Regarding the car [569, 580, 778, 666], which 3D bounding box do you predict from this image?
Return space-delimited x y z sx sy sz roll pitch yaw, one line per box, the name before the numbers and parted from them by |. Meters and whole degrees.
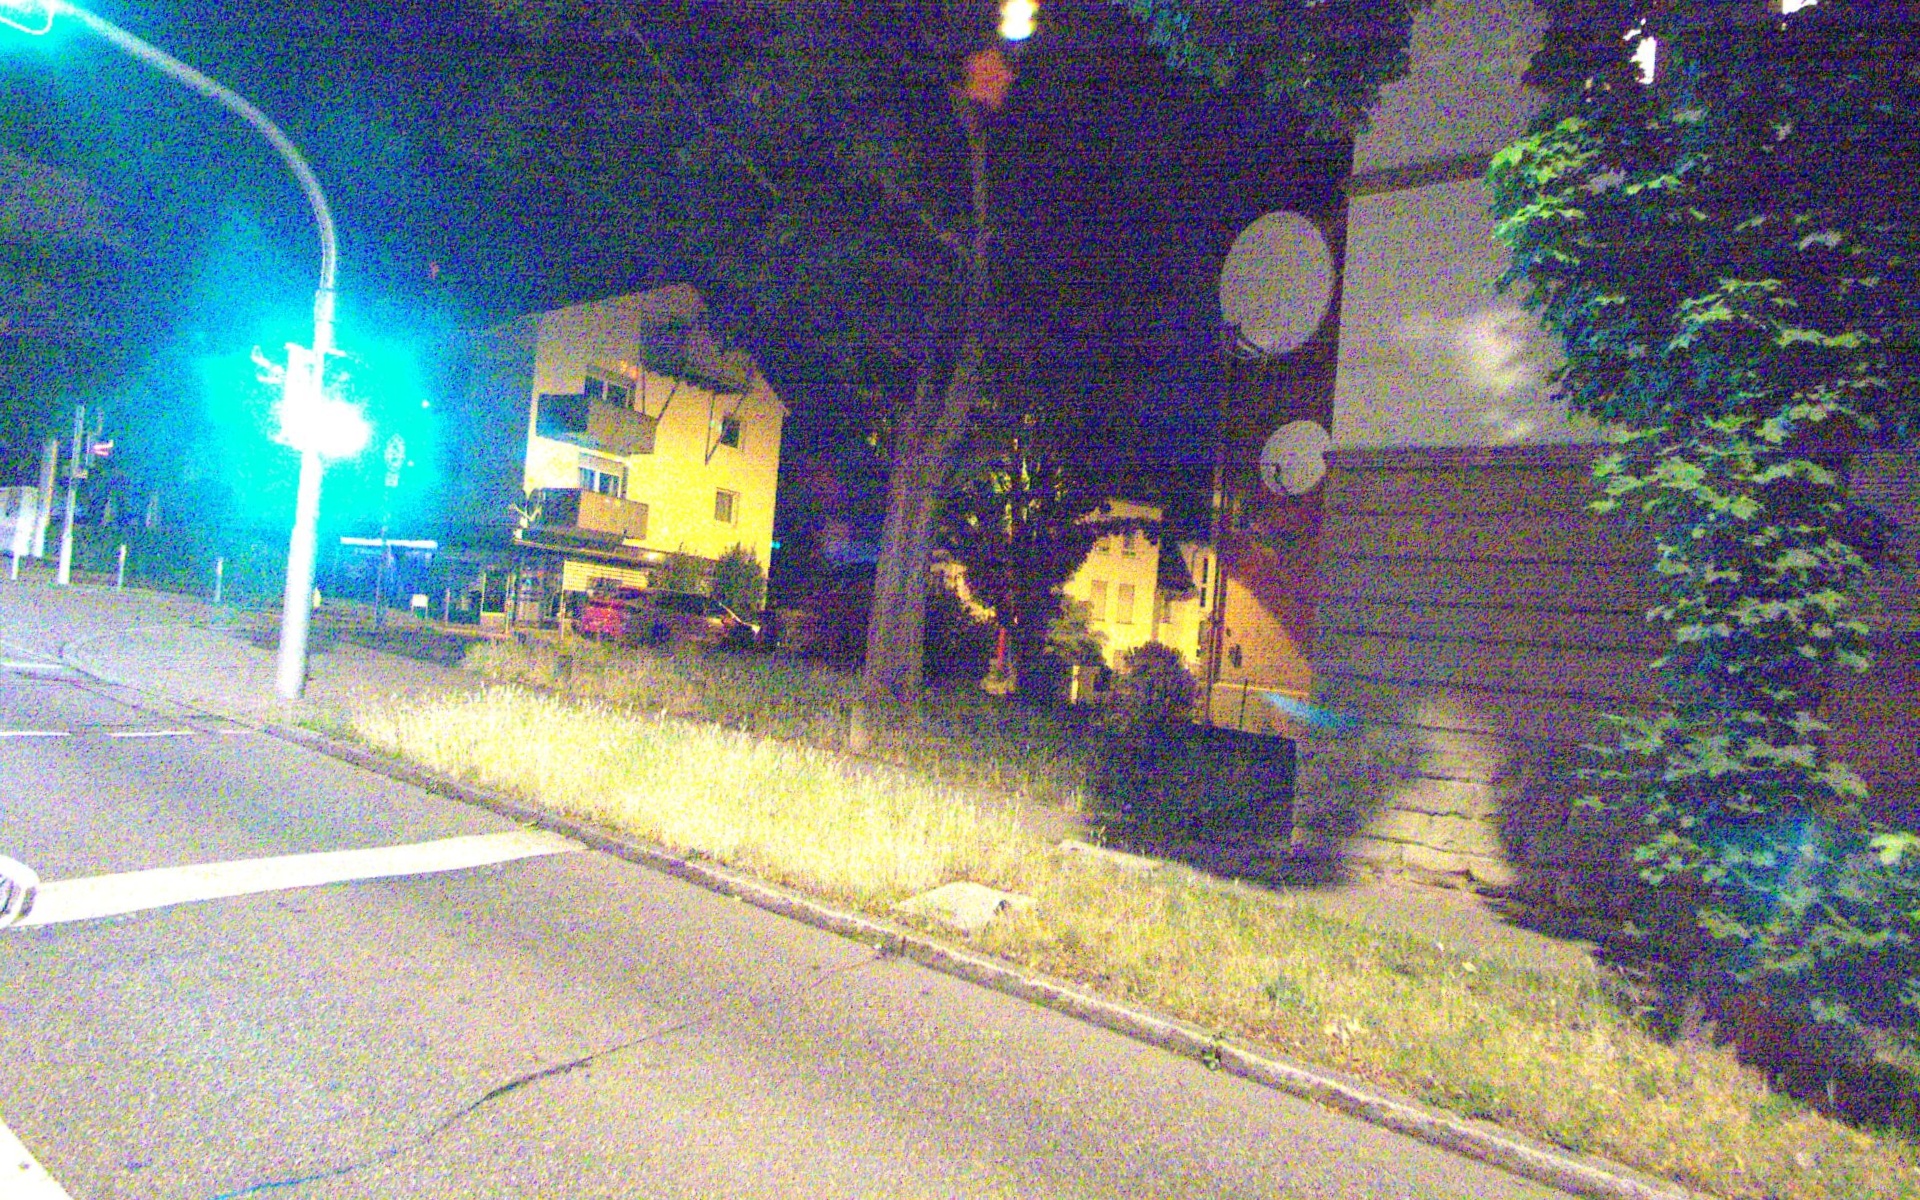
car | -6.509 0.583 23.298 1.778 1.577 4.366 3 -3 38
